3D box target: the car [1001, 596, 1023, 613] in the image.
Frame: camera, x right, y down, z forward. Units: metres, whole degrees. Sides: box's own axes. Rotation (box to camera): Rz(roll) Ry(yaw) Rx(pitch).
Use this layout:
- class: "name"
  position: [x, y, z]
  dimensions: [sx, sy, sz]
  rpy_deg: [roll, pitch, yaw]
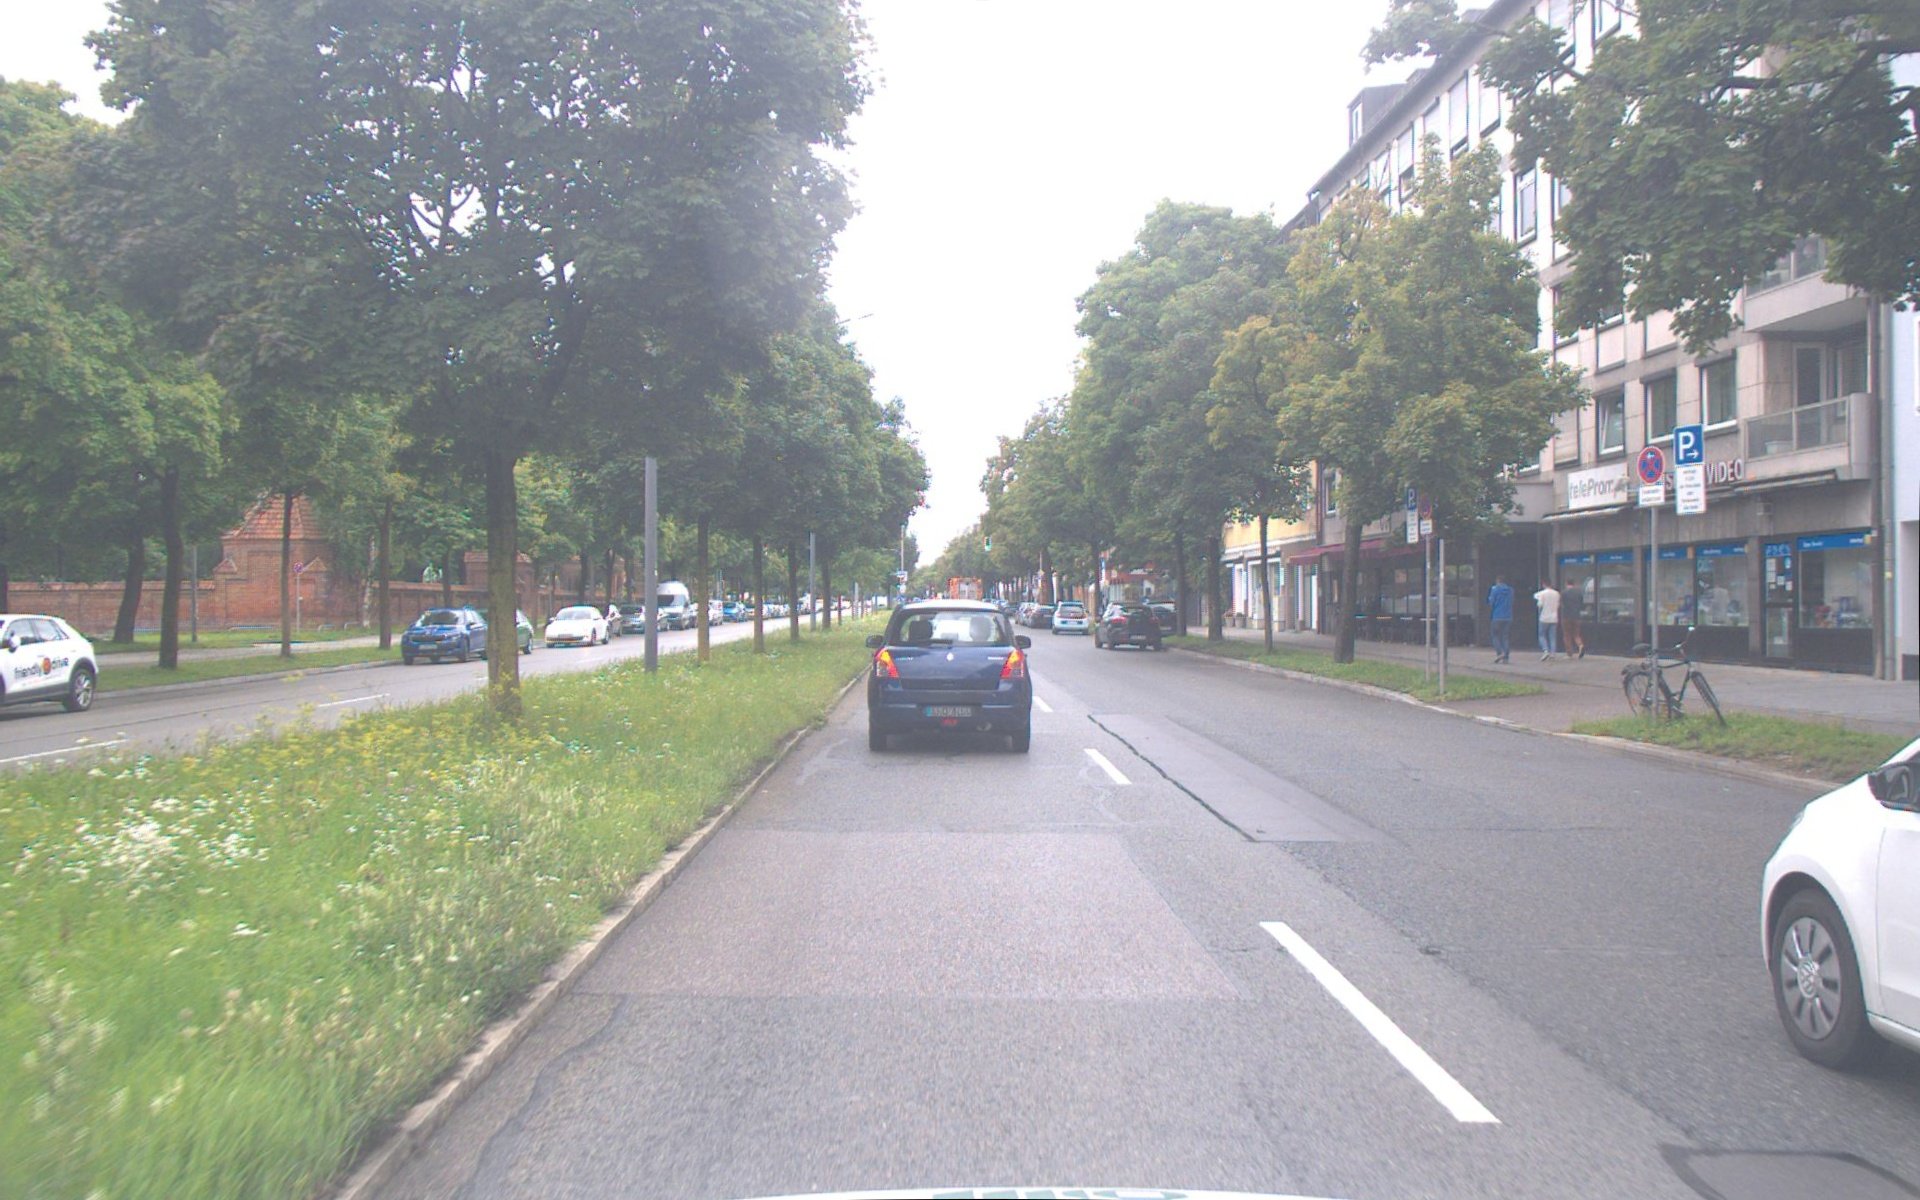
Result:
- class: "car"
  position: [5.081, 0.424, 161.222]
  dimensions: [1.953, 1.557, 3.999]
  rpy_deg: [-1, 0, -1]

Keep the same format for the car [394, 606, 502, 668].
- class: "car"
  position: [-14.541, 1.013, 47.222]
  dimensions: [1.849, 1.564, 4.312]
  rpy_deg: [-3, 0, -3]

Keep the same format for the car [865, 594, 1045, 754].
- class: "car"
  position: [-0.056, 0.706, 17.939]
  dimensions: [1.717, 1.531, 4.000]
  rpy_deg: [0, 0, 0]

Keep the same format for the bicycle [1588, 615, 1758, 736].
- class: "bicycle"
  position: [8.056, 0.817, 18.800]
  dimensions: [0.447, 1.278, 2.138]
  rpy_deg: [-1, 0, -19]

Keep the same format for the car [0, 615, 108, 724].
- class: "car"
  position: [-14.295, 0.989, 24.018]
  dimensions: [1.820, 1.517, 4.140]
  rpy_deg: [0, -1, -2]

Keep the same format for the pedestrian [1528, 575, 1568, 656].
- class: "pedestrian"
  position: [12.263, 0.322, 34.506]
  dimensions: [0.537, 1.658, 0.641]
  rpy_deg: [-2, 0, -1]

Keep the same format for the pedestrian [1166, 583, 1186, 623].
- class: "pedestrian"
  position: [10.487, 0.144, 80.424]
  dimensions: [0.776, 1.888, 0.776]
  rpy_deg: [-2, 0, -4]

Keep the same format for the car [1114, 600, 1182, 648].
- class: "car"
  position: [6.935, 0.860, 61.440]
  dimensions: [1.953, 1.671, 4.332]
  rpy_deg: [-1, 0, -1]

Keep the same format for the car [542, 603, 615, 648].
- class: "car"
  position: [-14.700, 0.949, 63.957]
  dimensions: [1.725, 1.564, 4.314]
  rpy_deg: [-3, 0, 0]

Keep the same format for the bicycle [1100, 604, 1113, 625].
- class: "bicycle"
  position: [6.967, 0.682, 78.817]
  dimensions: [0.439, 0.997, 1.798]
  rpy_deg: [0, 0, -1]

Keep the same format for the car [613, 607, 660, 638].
- class: "car"
  position: [-17.185, 1.167, 88.080]
  dimensions: [1.777, 1.563, 4.439]
  rpy_deg: [0, 0, -2]

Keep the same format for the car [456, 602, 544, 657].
- class: "car"
  position: [-14.610, 0.916, 52.788]
  dimensions: [1.605, 1.564, 4.313]
  rpy_deg: [-3, 0, -1]

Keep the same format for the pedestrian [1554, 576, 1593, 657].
- class: "pedestrian"
  position: [12.927, 0.341, 34.871]
  dimensions: [0.530, 1.669, 0.724]
  rpy_deg: [-1, 0, -1]

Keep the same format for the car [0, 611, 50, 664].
- class: "car"
  position: [-27.991, 1.063, 46.028]
  dimensions: [4.323, 1.416, 1.759]
  rpy_deg: [-1, 0, -1]

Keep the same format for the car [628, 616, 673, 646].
- class: "car"
  position: [-17.529, 1.742, 93.743]
  dimensions: [1.777, 1.563, 4.818]
  rpy_deg: [0, 0, -2]

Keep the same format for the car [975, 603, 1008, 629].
- class: "car"
  position: [1.916, 0.971, 100.878]
  dimensions: [1.784, 1.503, 4.689]
  rpy_deg: [1, 0, -1]

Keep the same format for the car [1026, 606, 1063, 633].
- class: "car"
  position: [4.857, 1.106, 95.084]
  dimensions: [1.621, 1.477, 4.705]
  rpy_deg: [-1, 0, -3]

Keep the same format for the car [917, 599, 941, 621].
- class: "car"
  position: [-2.215, 0.698, 119.263]
  dimensions: [1.684, 1.527, 4.299]
  rpy_deg: [0, 0, -1]

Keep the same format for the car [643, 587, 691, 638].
- class: "car"
  position: [-17.764, 0.730, 100.557]
  dimensions: [2.142, 3.005, 6.187]
  rpy_deg: [0, 0, -3]

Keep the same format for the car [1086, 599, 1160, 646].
- class: "car"
  position: [5.266, 0.706, 53.935]
  dimensions: [1.953, 1.477, 3.999]
  rpy_deg: [-1, 0, -1]

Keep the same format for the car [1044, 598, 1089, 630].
- class: "car"
  position: [5.034, 0.651, 78.546]
  dimensions: [1.621, 1.477, 3.997]
  rpy_deg: [-1, 0, -3]

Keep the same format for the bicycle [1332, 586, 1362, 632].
- class: "bicycle"
  position: [12.859, 0.288, 54.990]
  dimensions: [0.568, 1.489, 1.688]
  rpy_deg: [-1, 0, -1]

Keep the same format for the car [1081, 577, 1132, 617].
- class: "car"
  position: [6.398, -0.138, 72.635]
  dimensions: [1.778, 1.654, 4.307]
  rpy_deg: [-2, 0, 0]

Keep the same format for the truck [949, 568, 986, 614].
- class: "truck"
  position: [0.561, -0.730, 138.418]
  dimensions: [2.979, 3.619, 13.673]
  rpy_deg: [0, 0, 0]

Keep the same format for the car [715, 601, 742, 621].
- class: "car"
  position: [-18.498, 0.872, 132.338]
  dimensions: [1.672, 1.561, 3.999]
  rpy_deg: [-1, 0, -1]

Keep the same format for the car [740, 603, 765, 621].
- class: "car"
  position: [-18.759, 1.039, 149.468]
  dimensions: [1.765, 1.561, 3.999]
  rpy_deg: [-1, 0, -1]

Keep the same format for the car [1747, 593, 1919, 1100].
- class: "car"
  position: [3.725, 0.750, 4.290]
  dimensions: [1.652, 1.516, 3.434]
  rpy_deg: [1, 0, -2]

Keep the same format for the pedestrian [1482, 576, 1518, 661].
- class: "pedestrian"
  position: [11.254, 0.381, 34.460]
  dimensions: [0.489, 1.763, 0.732]
  rpy_deg: [-1, 0, -1]
